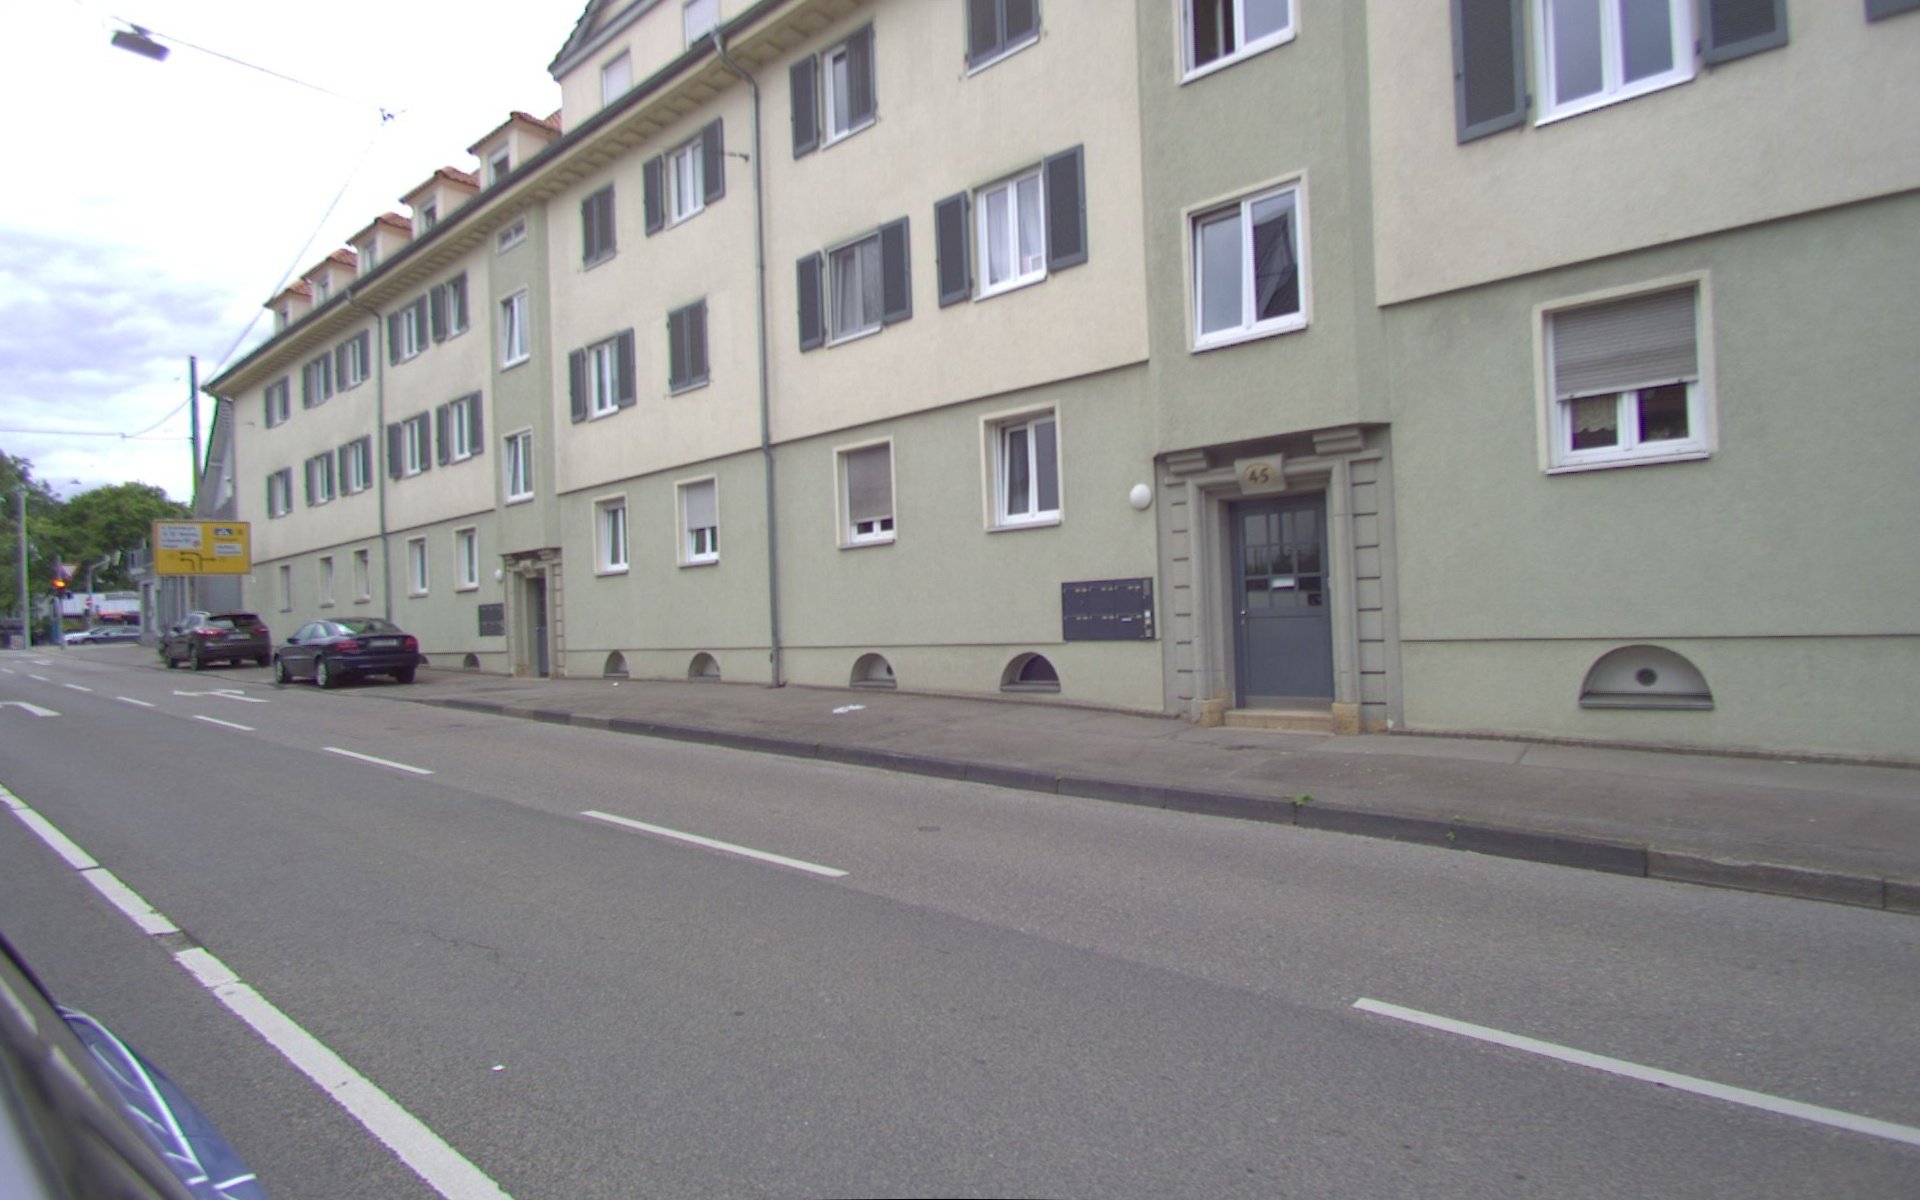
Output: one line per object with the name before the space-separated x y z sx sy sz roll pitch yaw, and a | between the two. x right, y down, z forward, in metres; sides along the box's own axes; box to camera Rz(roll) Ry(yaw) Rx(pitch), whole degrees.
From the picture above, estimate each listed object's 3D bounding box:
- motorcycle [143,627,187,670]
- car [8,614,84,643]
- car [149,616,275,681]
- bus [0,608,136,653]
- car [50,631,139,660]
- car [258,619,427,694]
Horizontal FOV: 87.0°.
motorcycle | -25.336 1.524 32.237 2.228 1.300 0.619 -2 1 39
car | -69.872 2.169 77.397 1.996 2.206 3.951 -2 -2 36
car | -21.456 1.352 28.956 4.692 1.645 1.804 -2 0 40
bus | -66.896 2.222 72.795 2.000 3.086 11.687 -5 -3 44
car | -54.391 2.842 63.642 1.998 1.663 3.947 -2 -2 39
car | -13.440 1.165 21.899 4.842 1.414 1.693 -2 -1 41
